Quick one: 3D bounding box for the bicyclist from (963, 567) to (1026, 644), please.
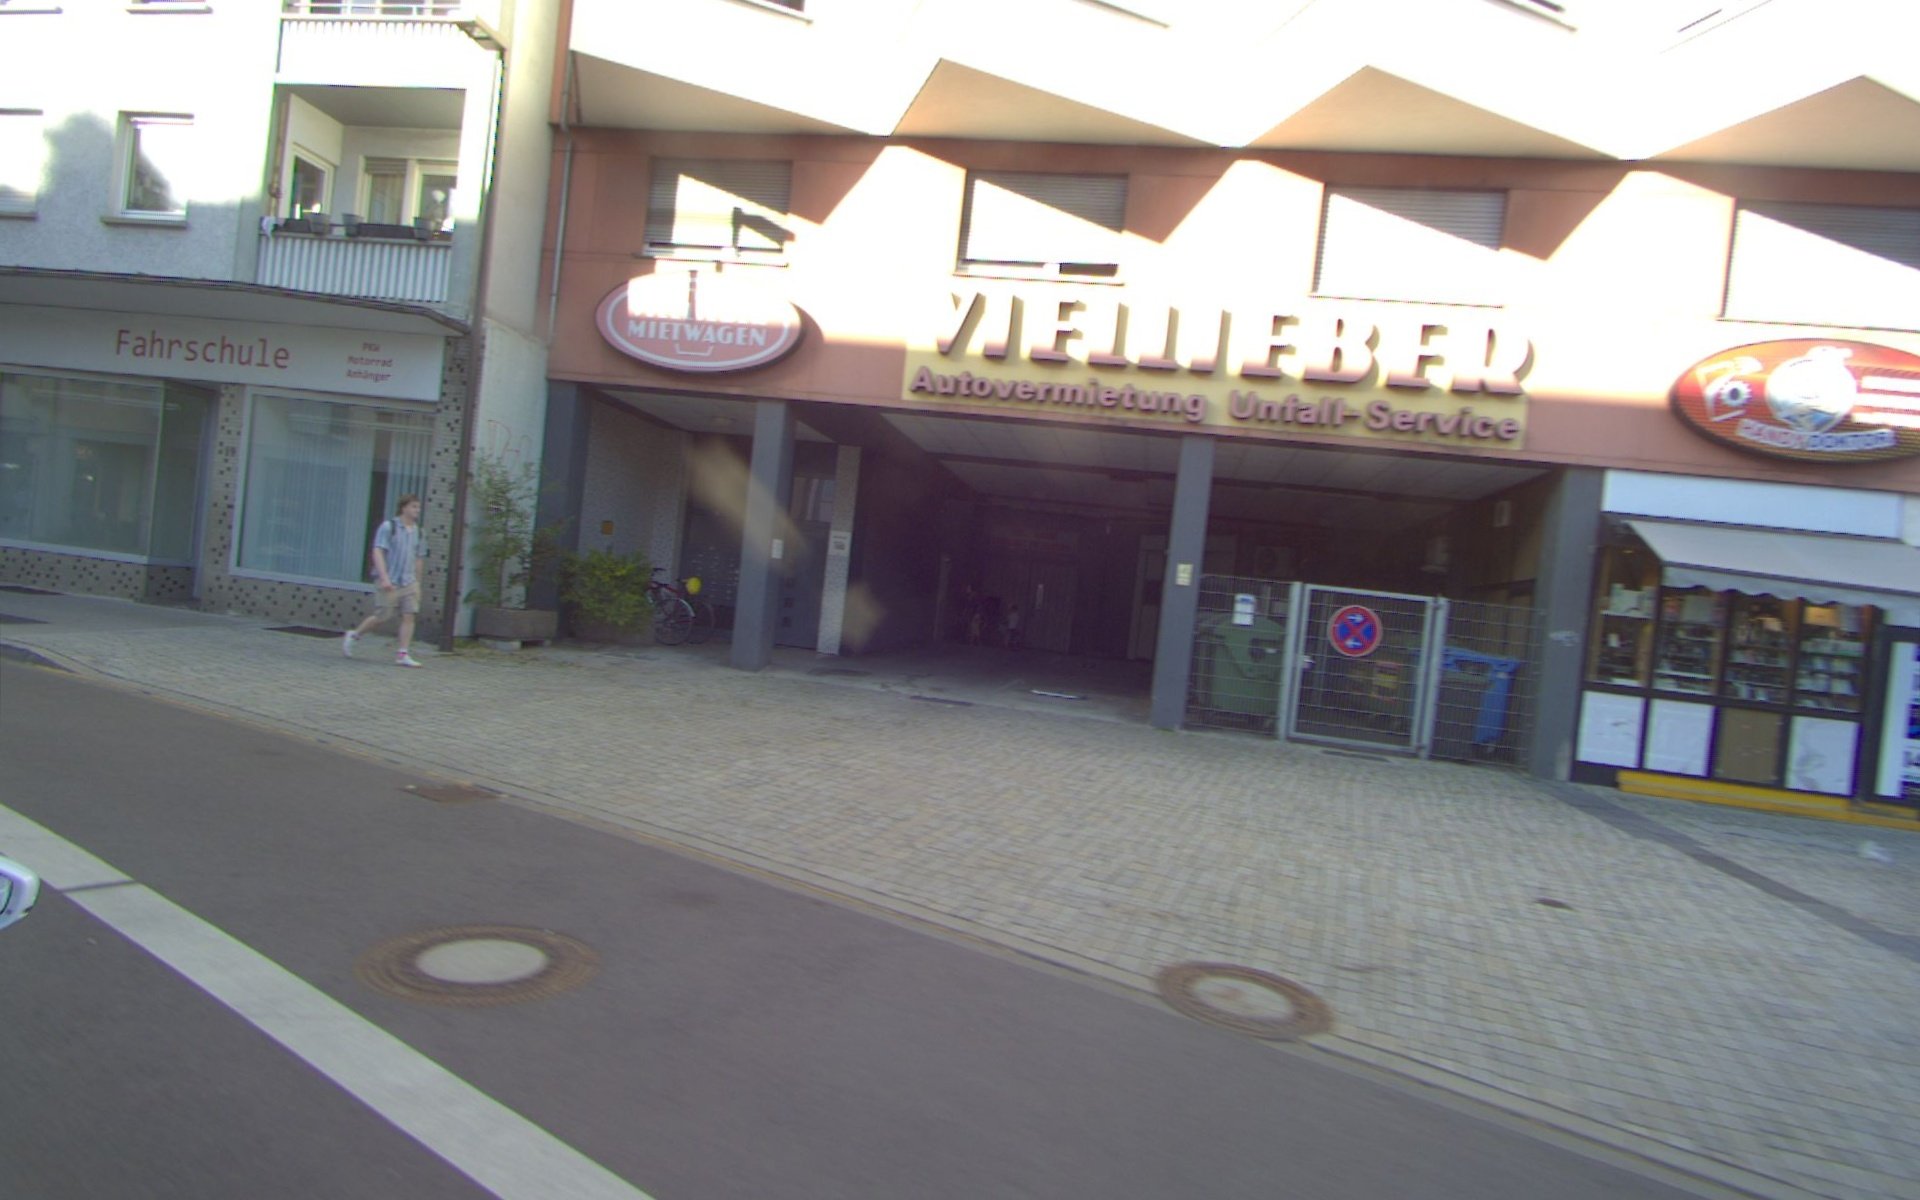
[{"bbox_3d":[0.836,0.141,24.462,1.176,1.706,0.689,7,-1,32],"label":"bicyclist"}]

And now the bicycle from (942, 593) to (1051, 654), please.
[{"bbox_3d":[0.870,0.557,24.417,2.536,1.177,0.689,6,-1,32],"label":"bicycle"}]

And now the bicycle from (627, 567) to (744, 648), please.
[{"bbox_3d":[-4.287,0.119,15.733,1.607,1.051,0.496,7,1,11],"label":"bicycle"}]

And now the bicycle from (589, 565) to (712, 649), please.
[{"bbox_3d":[-4.594,0.106,14.948,1.607,1.052,0.496,7,1,11],"label":"bicycle"}]

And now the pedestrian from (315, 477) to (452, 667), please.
[{"bbox_3d":[-6.159,-0.298,10.779,0.930,1.880,0.733,6,3,10],"label":"pedestrian"}]
